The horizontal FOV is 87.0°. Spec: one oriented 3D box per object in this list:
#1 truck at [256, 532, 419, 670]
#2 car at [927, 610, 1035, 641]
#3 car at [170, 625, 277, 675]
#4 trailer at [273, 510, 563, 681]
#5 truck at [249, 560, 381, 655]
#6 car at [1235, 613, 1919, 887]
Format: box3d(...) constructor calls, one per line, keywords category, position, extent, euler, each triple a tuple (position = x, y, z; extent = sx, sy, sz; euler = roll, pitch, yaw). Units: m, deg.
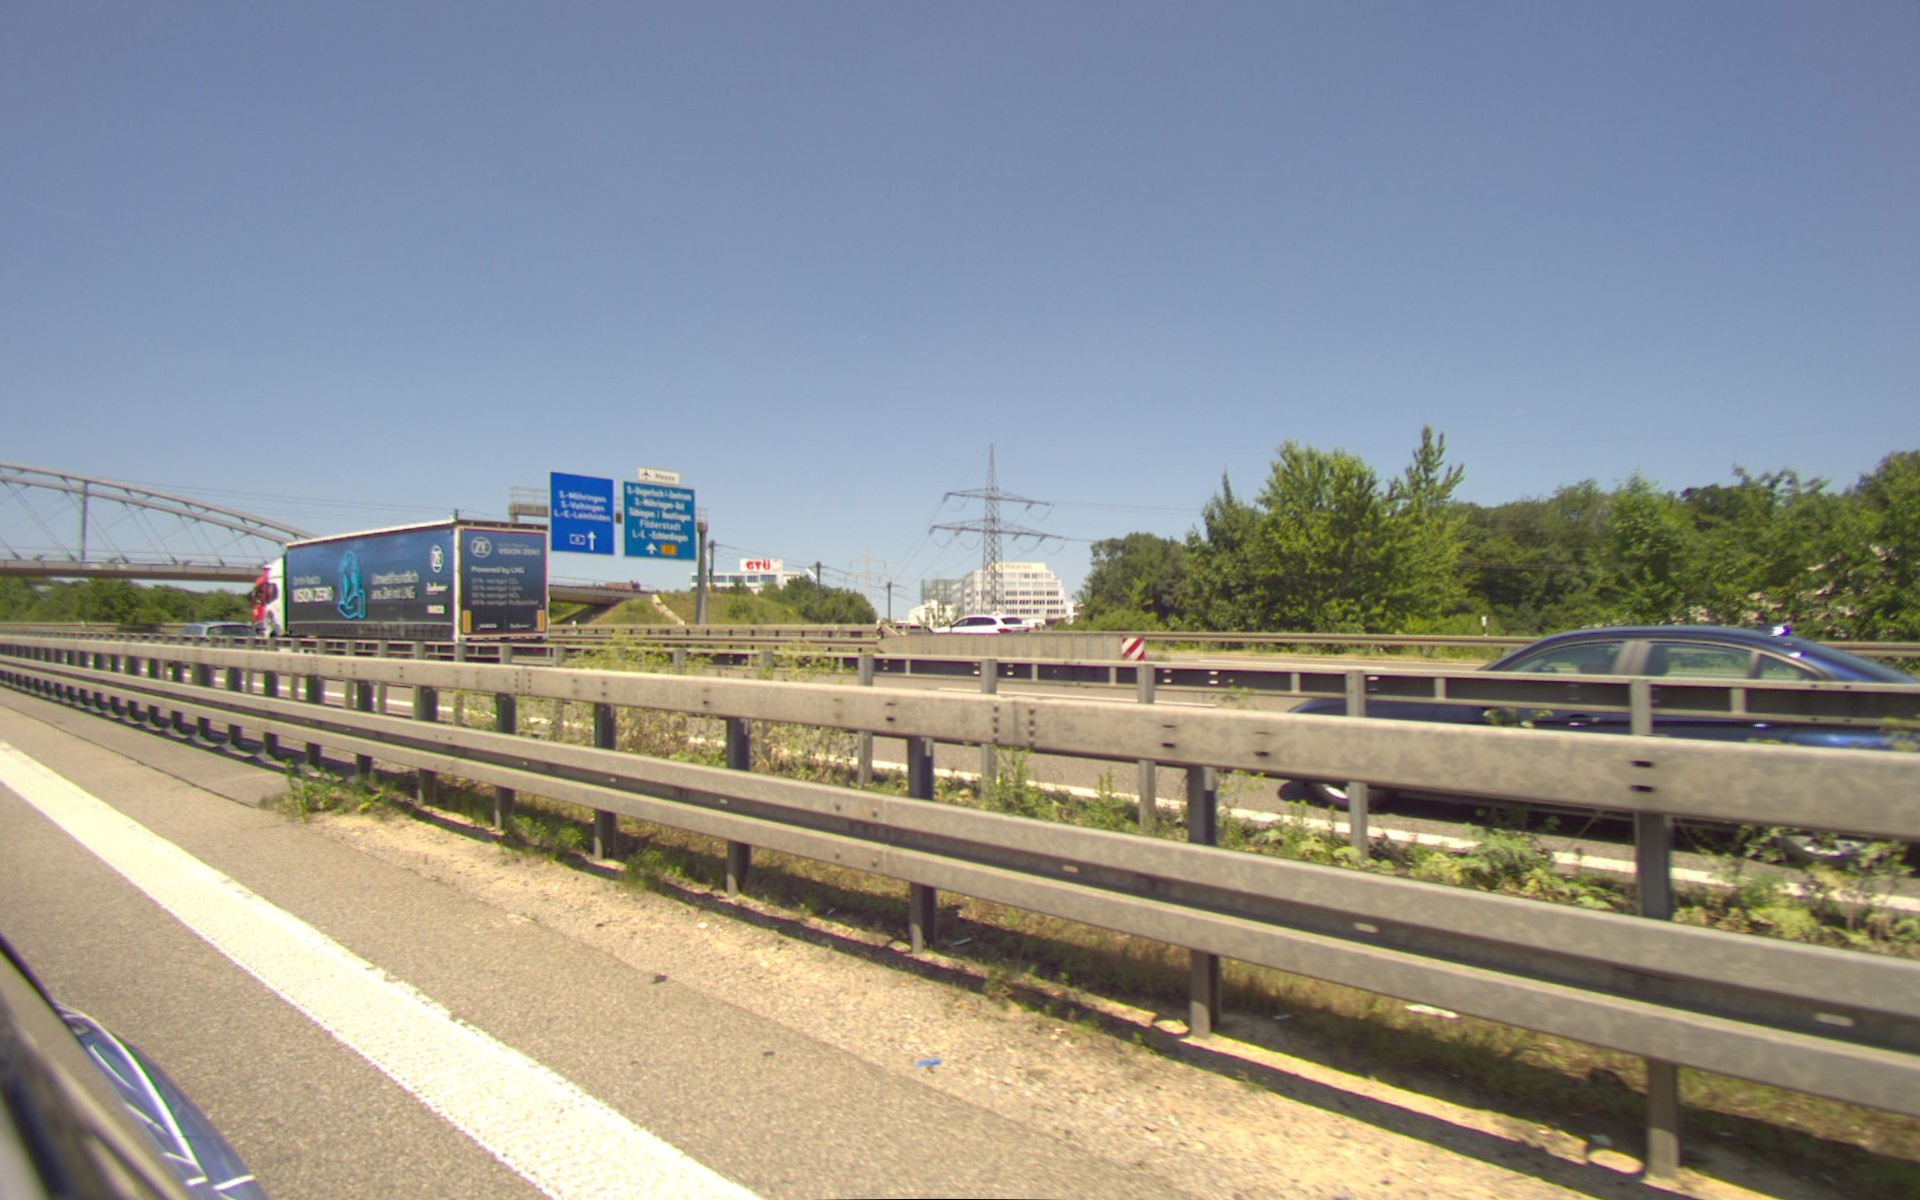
box3d(category="truck", position=(-21.987, 0.075, 35.602), extent=(6.911, 4.377, 2.898), euler=(-1, -1, 40))
box3d(category="car", position=(0.808, 1.036, 41.091), extent=(4.401, 1.212, 1.660), euler=(-1, -1, 42))
box3d(category="car", position=(-23.860, 1.563, 32.727), extent=(4.636, 1.475, 1.848), euler=(-1, -1, 42))
box3d(category="trailer", position=(-17.508, -0.021, 31.726), extent=(14.610, 4.375, 2.915), euler=(-1, -1, 41))
box3d(category="truck", position=(-31.199, 0.400, 48.714), extent=(10.342, 4.147, 2.555), euler=(-1, -1, 41))
box3d(category="car", position=(4.552, 0.852, 7.290), extent=(4.636, 1.475, 1.848), euler=(-1, -1, 42))
